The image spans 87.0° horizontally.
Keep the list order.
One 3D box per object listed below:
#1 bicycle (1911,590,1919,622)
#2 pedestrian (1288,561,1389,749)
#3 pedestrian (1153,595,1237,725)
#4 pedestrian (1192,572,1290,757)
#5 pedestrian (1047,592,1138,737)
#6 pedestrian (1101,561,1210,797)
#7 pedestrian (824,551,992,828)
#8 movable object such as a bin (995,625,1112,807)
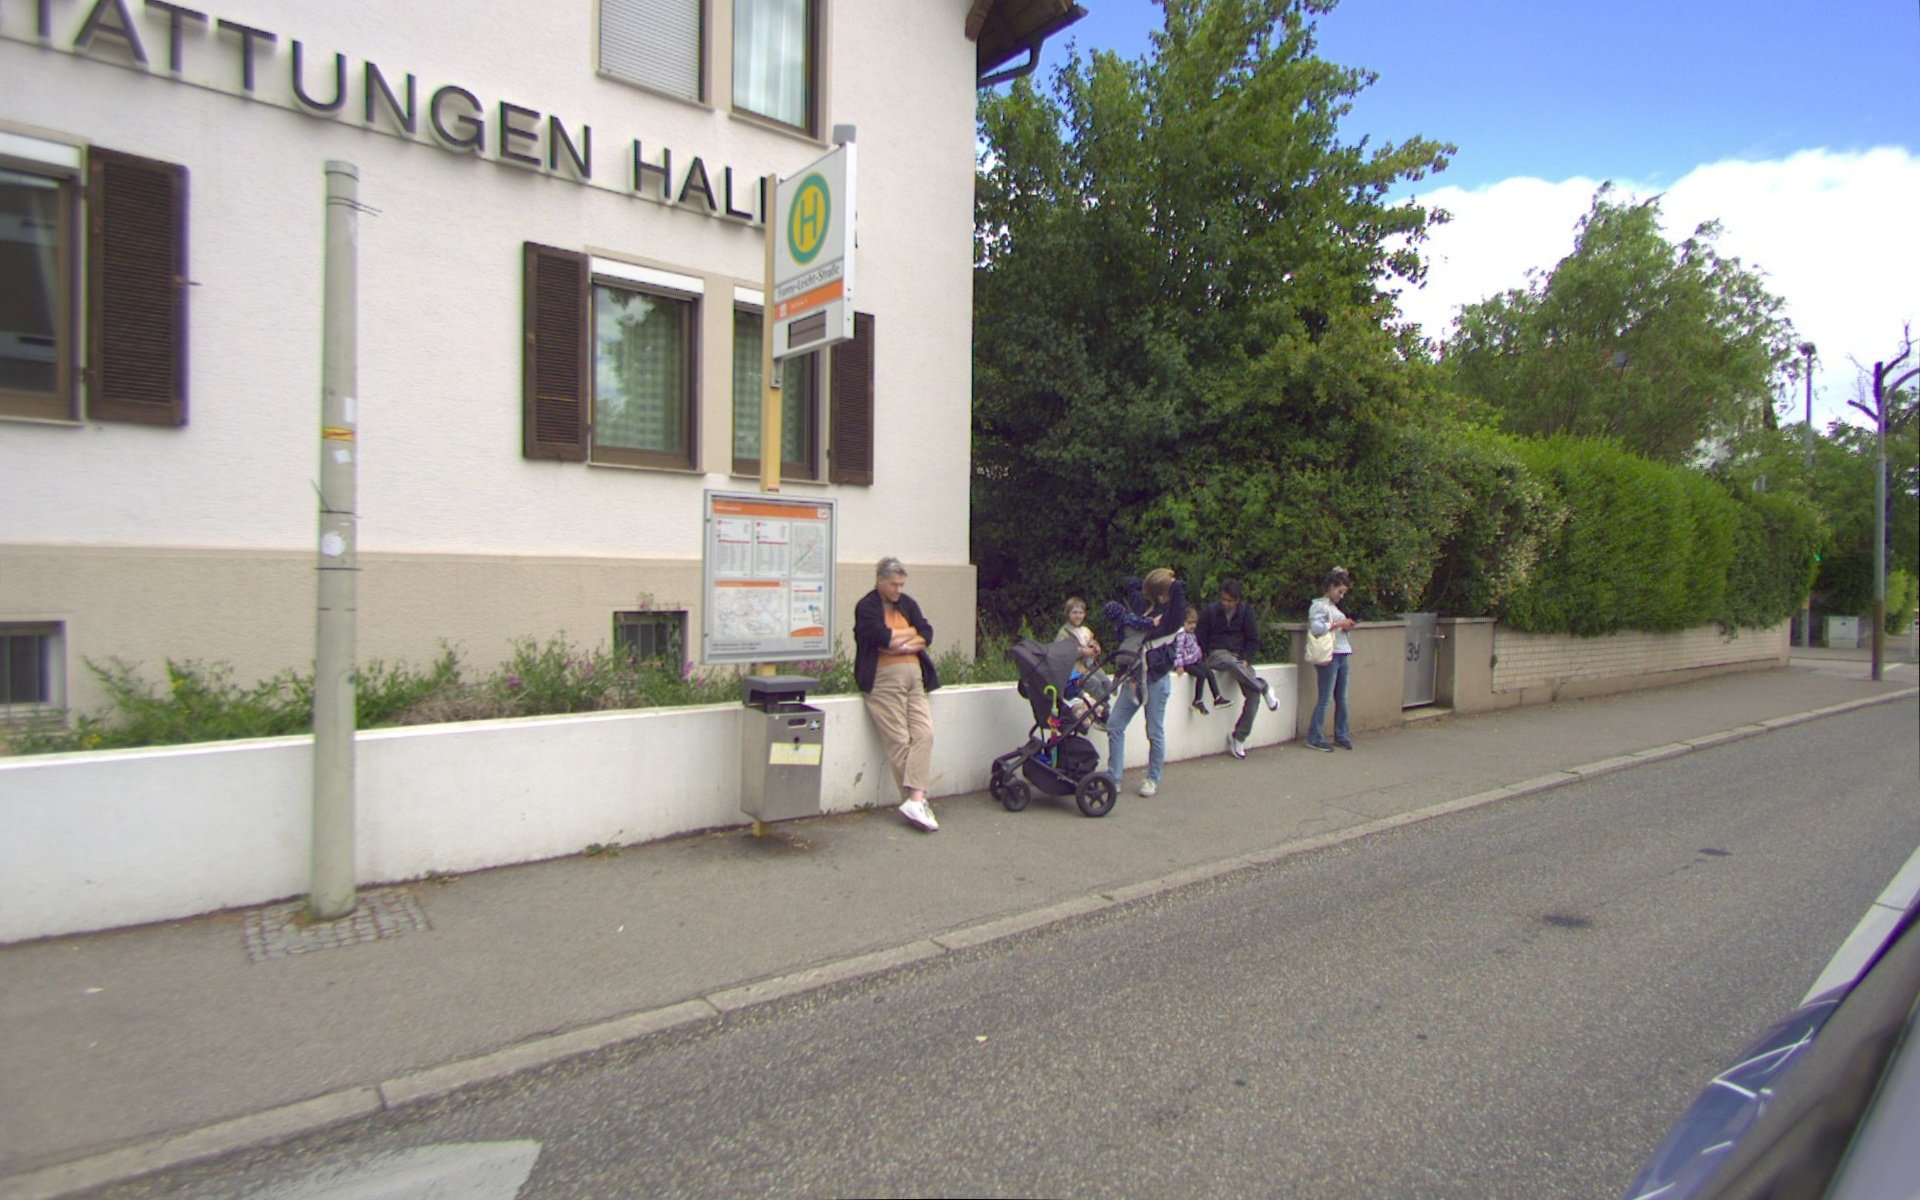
[{"bbox_3d":[47.940,0.329,50.185,2.737,1.528,0.893,0,6,-45],"label":"bicycle"},{"bbox_3d":[3.330,0.473,8.923,0.534,1.574,0.472,2,4,-29],"label":"pedestrian"},{"bbox_3d":[1.892,0.468,8.161,0.454,0.975,0.377,8,5,45],"label":"pedestrian"},{"bbox_3d":[2.336,0.516,8.473,0.503,1.444,0.622,4,3,-1],"label":"pedestrian"},{"bbox_3d":[0.962,0.452,7.365,0.454,0.975,0.377,8,5,45],"label":"pedestrian"},{"bbox_3d":[1.337,0.522,6.980,0.354,1.535,0.552,2,3,-30],"label":"pedestrian"},{"bbox_3d":[-0.323,0.488,6.130,0.595,1.518,0.781,0,4,-45],"label":"pedestrian"},{"bbox_3d":[0.586,0.731,6.474,0.556,1.070,0.443,3,3,-13],"label":"movable object such as a bin"}]
